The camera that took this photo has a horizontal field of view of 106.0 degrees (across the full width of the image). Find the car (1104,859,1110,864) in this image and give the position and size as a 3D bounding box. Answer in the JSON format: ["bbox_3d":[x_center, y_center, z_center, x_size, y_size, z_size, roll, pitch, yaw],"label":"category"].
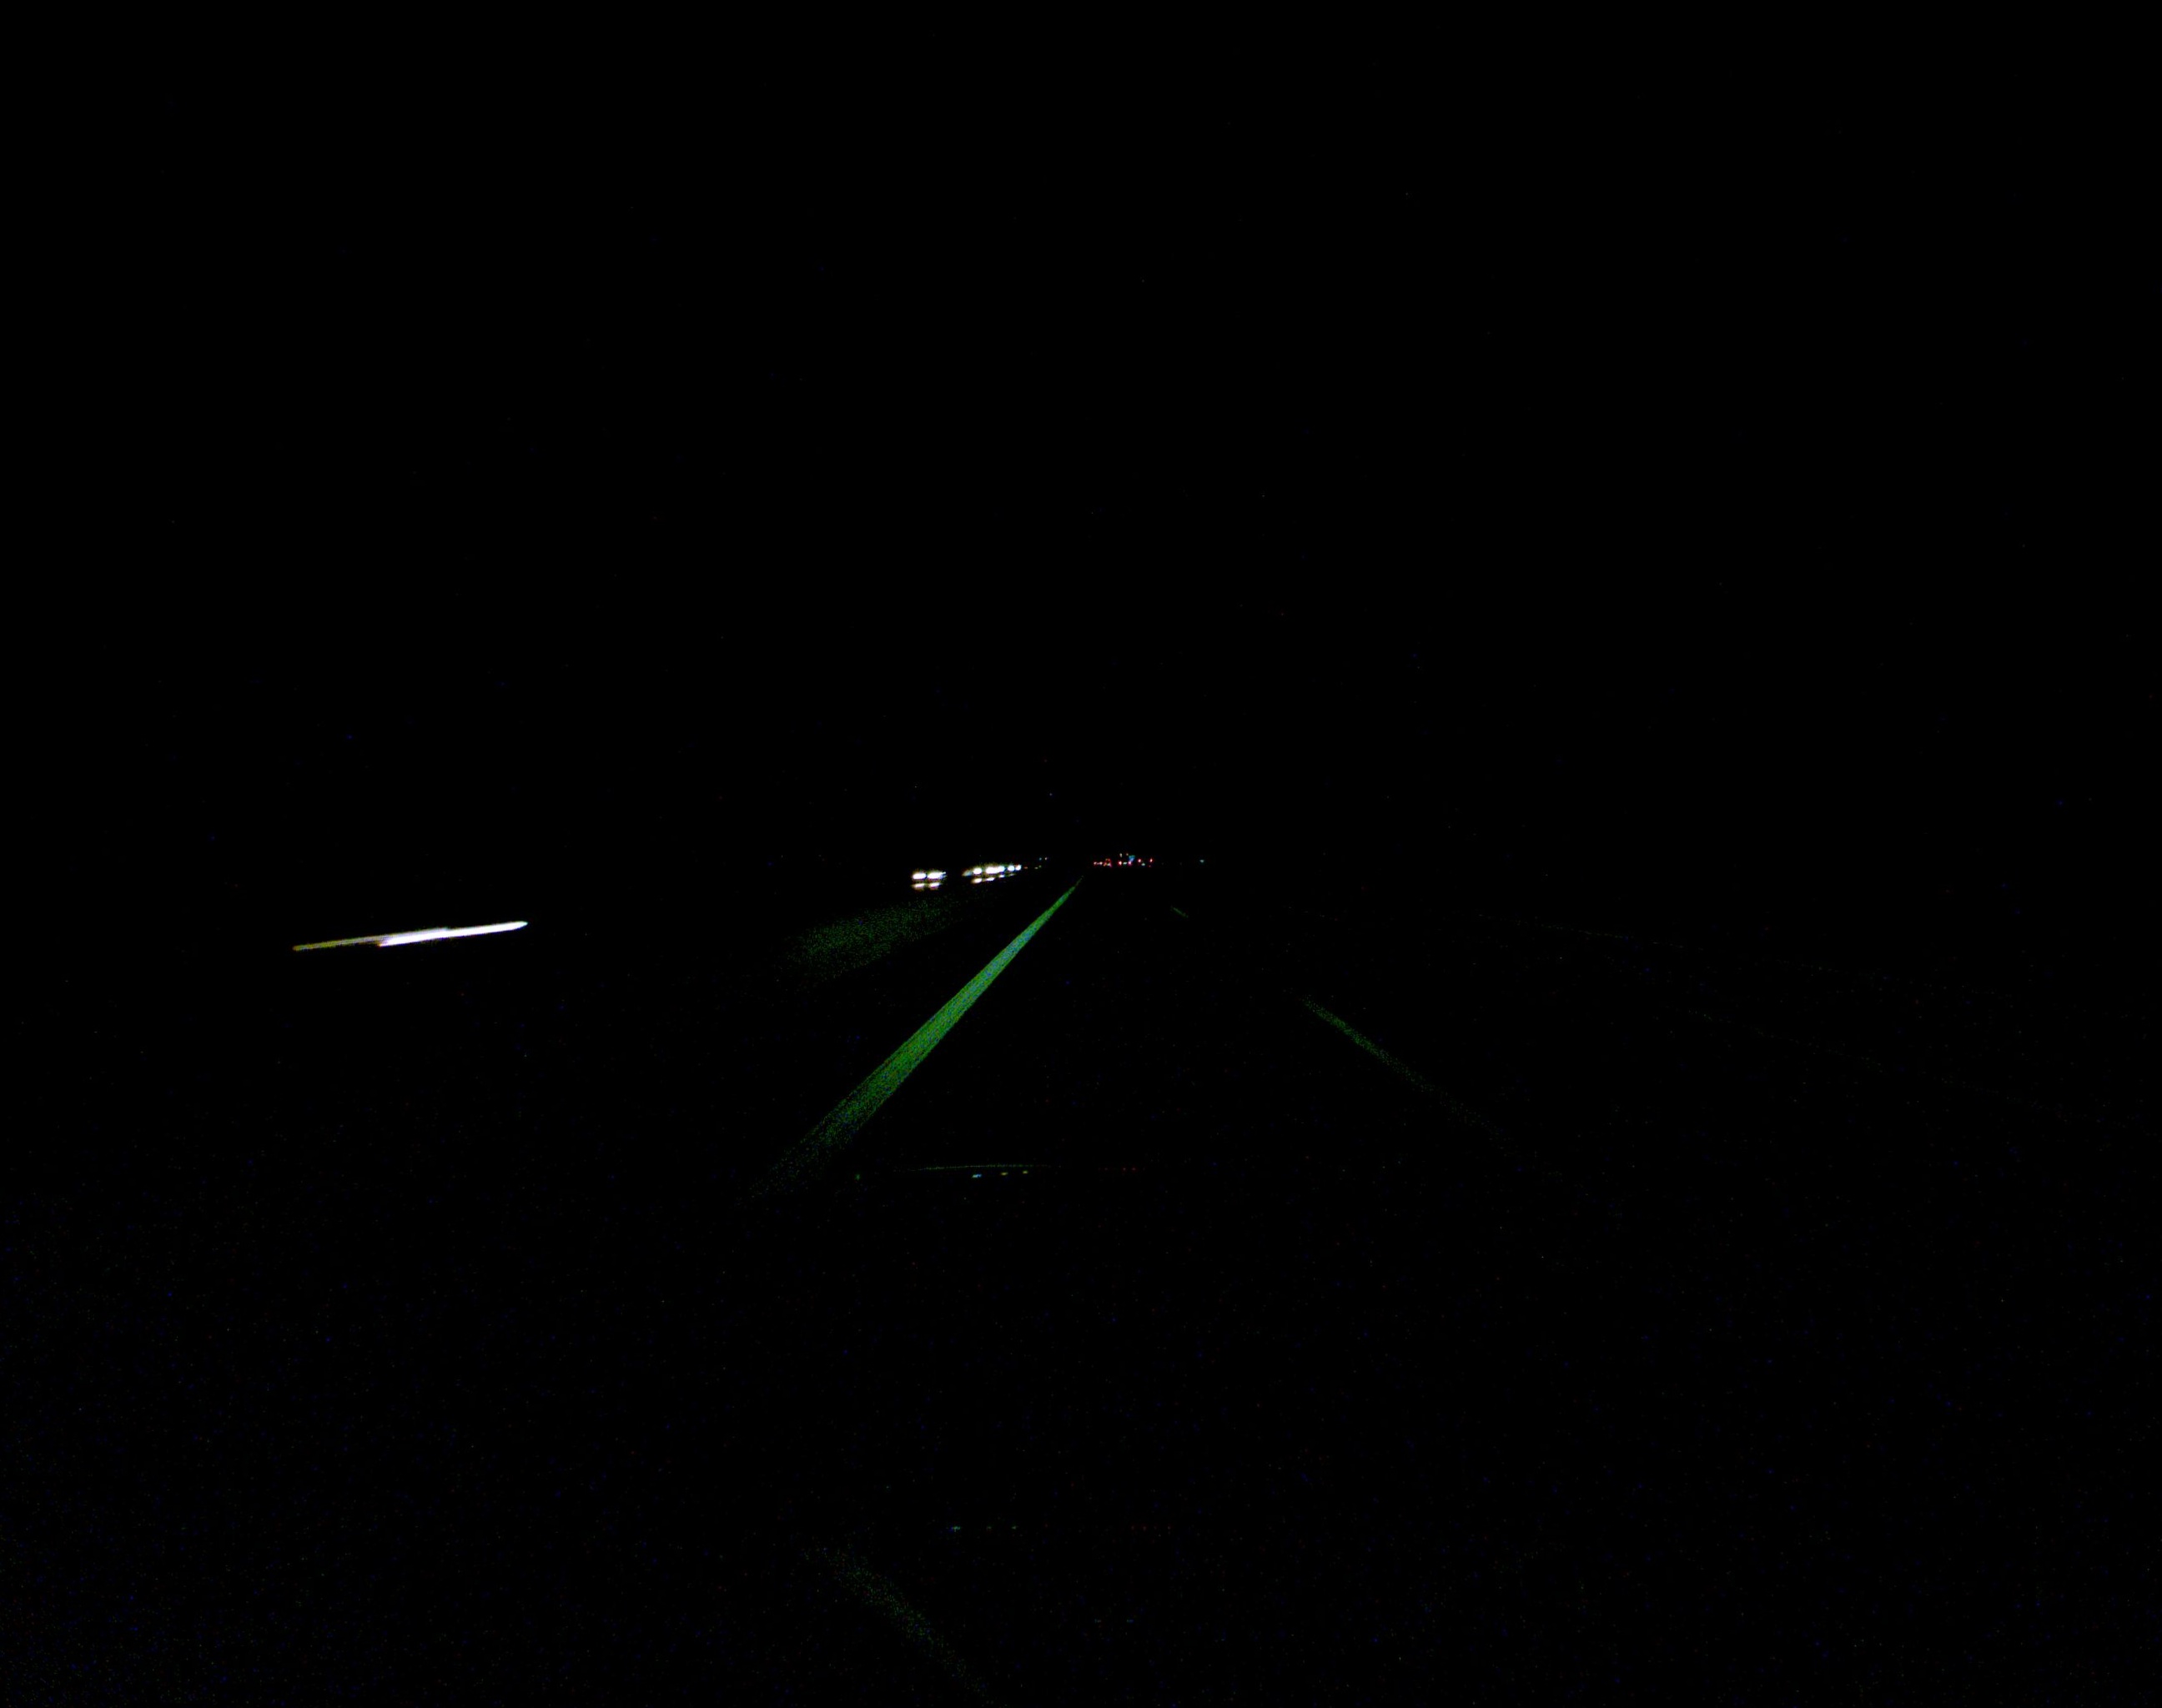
[{"bbox_3d":[7.336,2.106,231.258,1.814,1.466,4.248,0,0,1],"label":"car"}]

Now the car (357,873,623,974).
[{"bbox_3d":[-11.149,1.213,15.873,1.744,1.478,4.582,-3,0,0],"label":"car"}]

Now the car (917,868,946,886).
[{"bbox_3d":[-13.416,2.048,73.299,1.744,1.478,4.582,-3,0,0],"label":"car"}]

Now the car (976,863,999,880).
[{"bbox_3d":[-9.530,1.768,83.275,1.744,1.478,4.582,-3,0,0],"label":"car"}]

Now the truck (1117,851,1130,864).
[{"bbox_3d":[10.914,0.994,211.681,3.033,3.325,10.143,0,0,1],"label":"truck"}]

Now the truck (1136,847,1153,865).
[{"bbox_3d":[9.970,0.267,127.911,2.070,2.691,7.305,0,1,-1],"label":"truck"}]

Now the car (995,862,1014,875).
[{"bbox_3d":[-9.537,1.804,102.267,1.744,1.478,4.583,-3,0,1],"label":"car"}]

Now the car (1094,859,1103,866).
[{"bbox_3d":[3.667,1.747,166.519,1.814,1.466,4.248,0,0,1],"label":"car"}]

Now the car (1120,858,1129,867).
[{"bbox_3d":[6.892,1.303,129.383,1.341,1.387,3.502,0,0,1],"label":"car"}]
